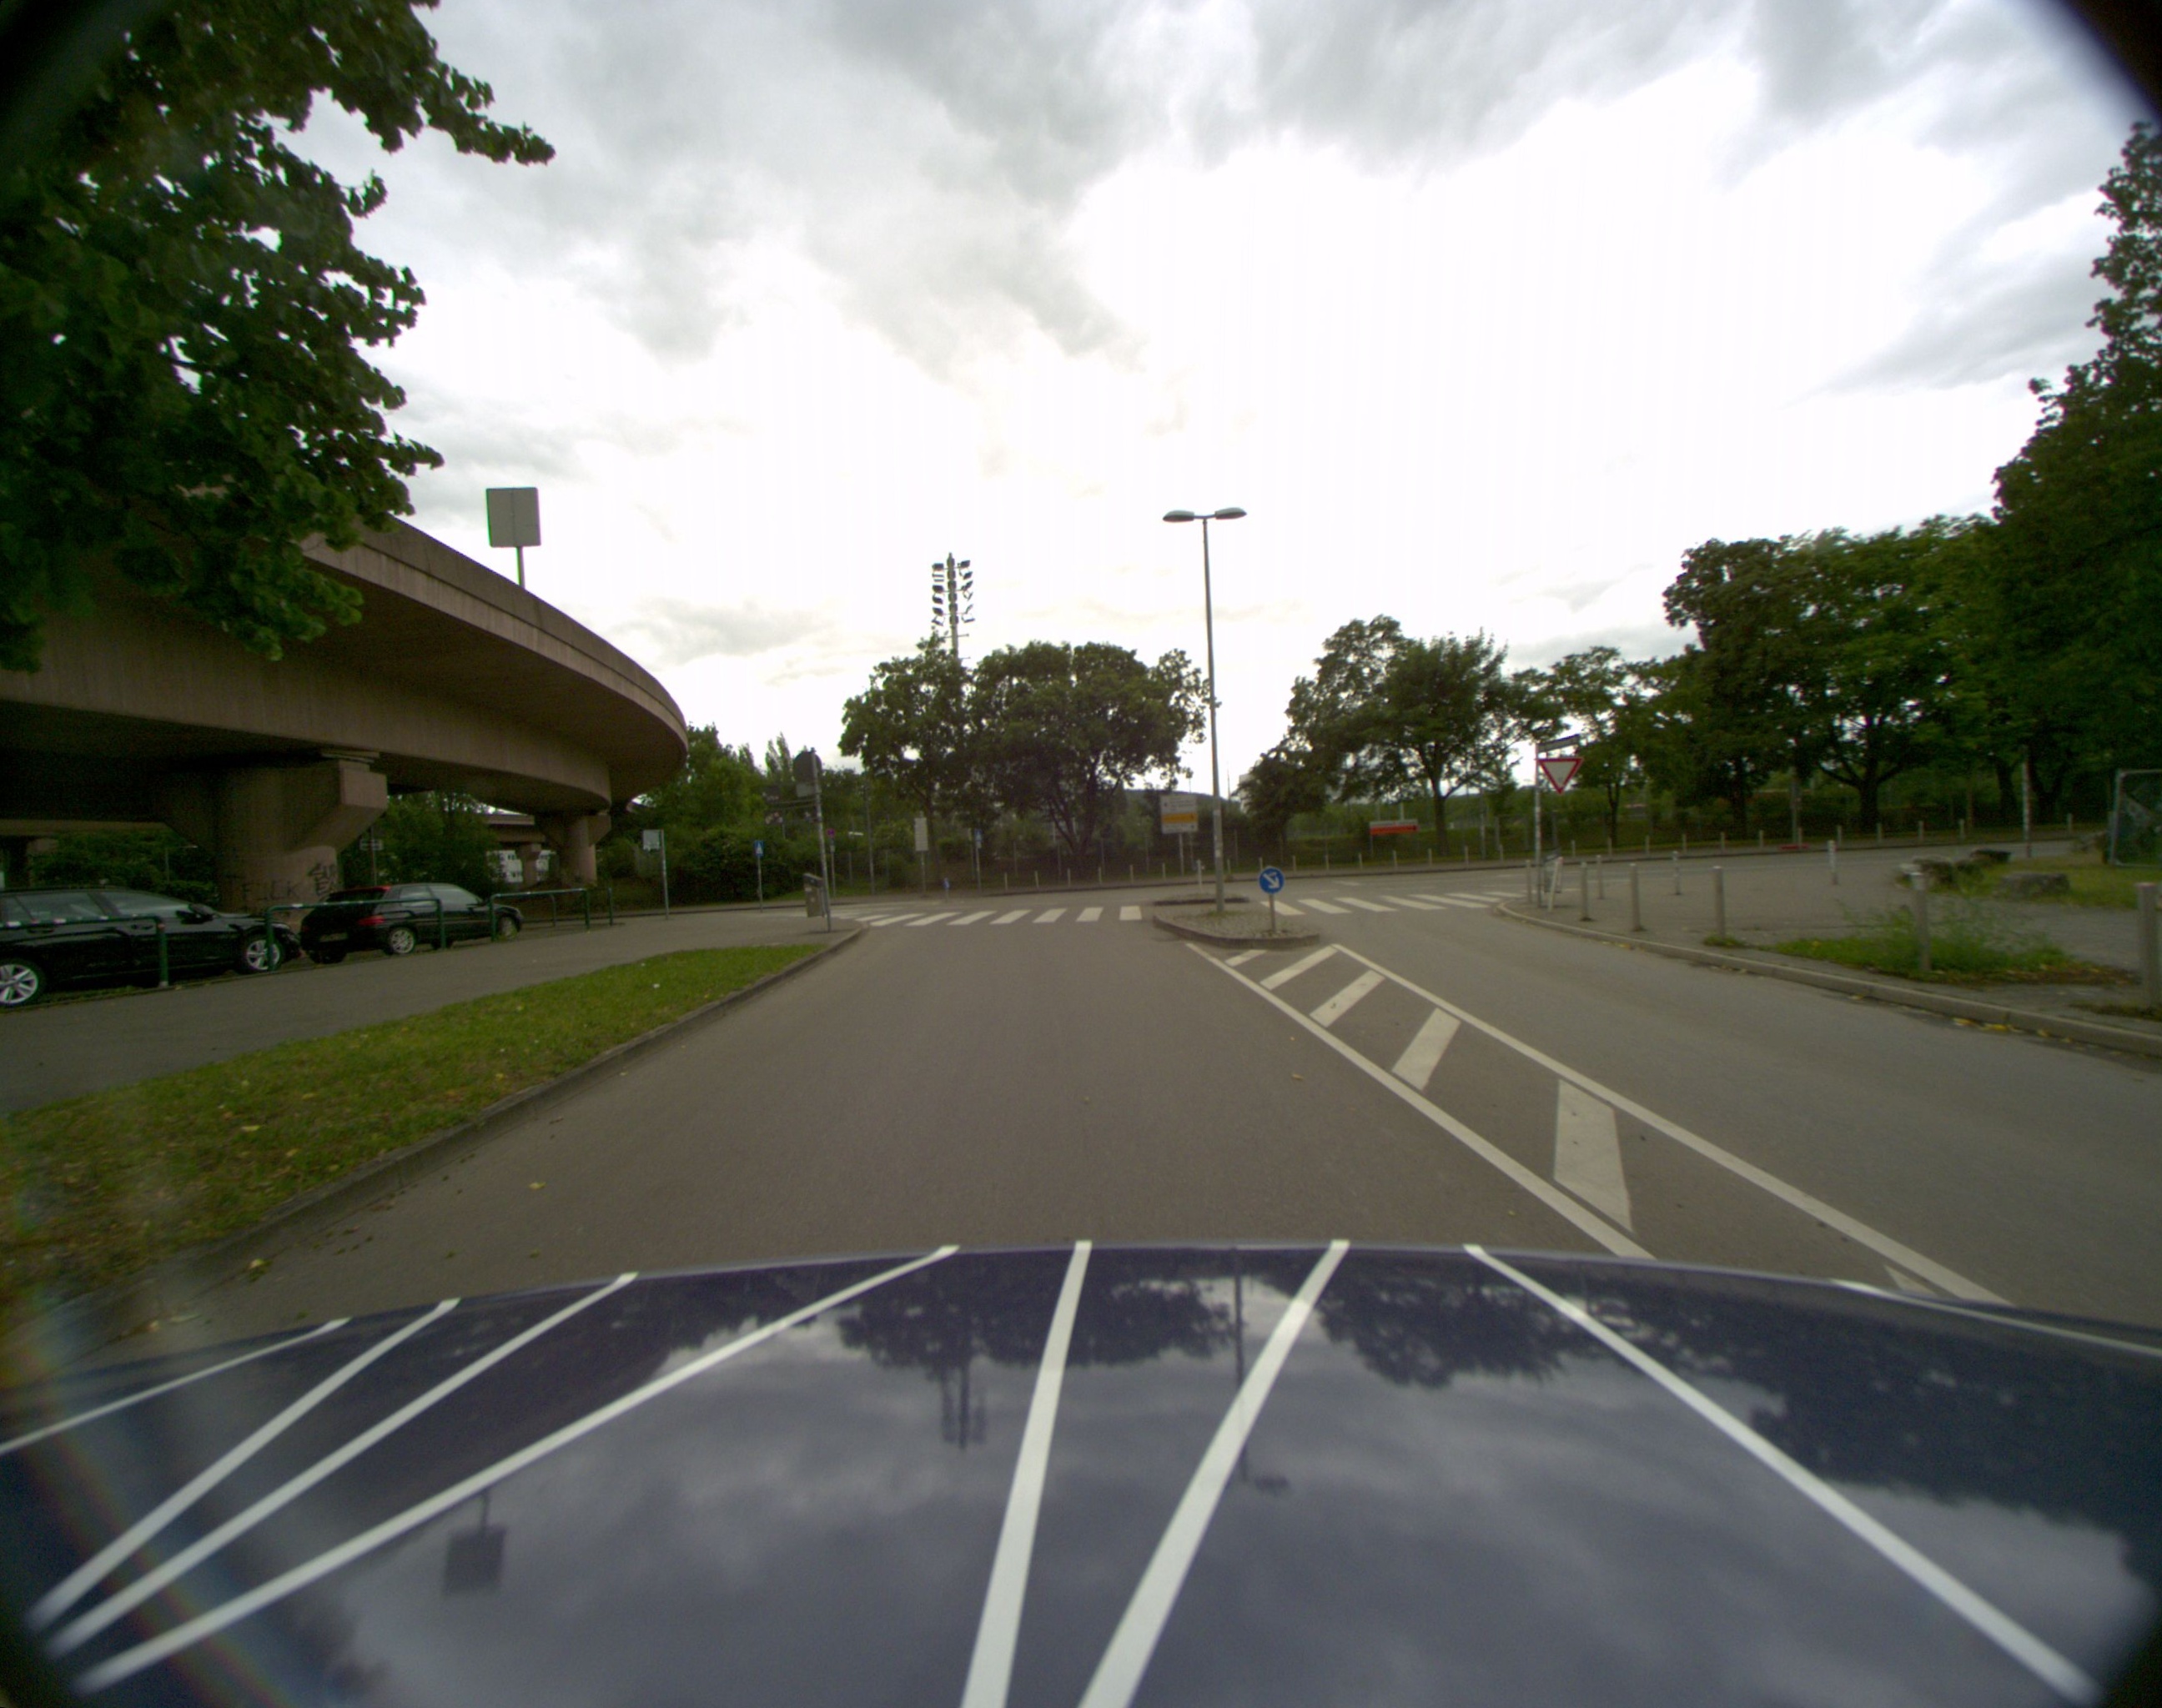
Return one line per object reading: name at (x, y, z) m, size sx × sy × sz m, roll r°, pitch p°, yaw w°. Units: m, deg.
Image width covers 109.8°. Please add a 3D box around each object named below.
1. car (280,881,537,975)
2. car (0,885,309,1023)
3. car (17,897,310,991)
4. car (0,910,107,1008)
car at (-12.996, 1.357, 15.030) m, size 1.509 × 1.322 × 3.700 m, roll -7°, pitch 0°, yaw 4°
car at (-13.056, 1.278, 9.847) m, size 1.509 × 1.412 × 4.249 m, roll -5°, pitch 0°, yaw 3°
car at (-18.878, 1.816, 15.760) m, size 4.008 × 1.543 × 1.639 m, roll -3°, pitch 0°, yaw 0°
car at (-19.339, 1.853, 12.634) m, size 3.860 × 1.500 × 1.698 m, roll -4°, pitch 0°, yaw -3°
